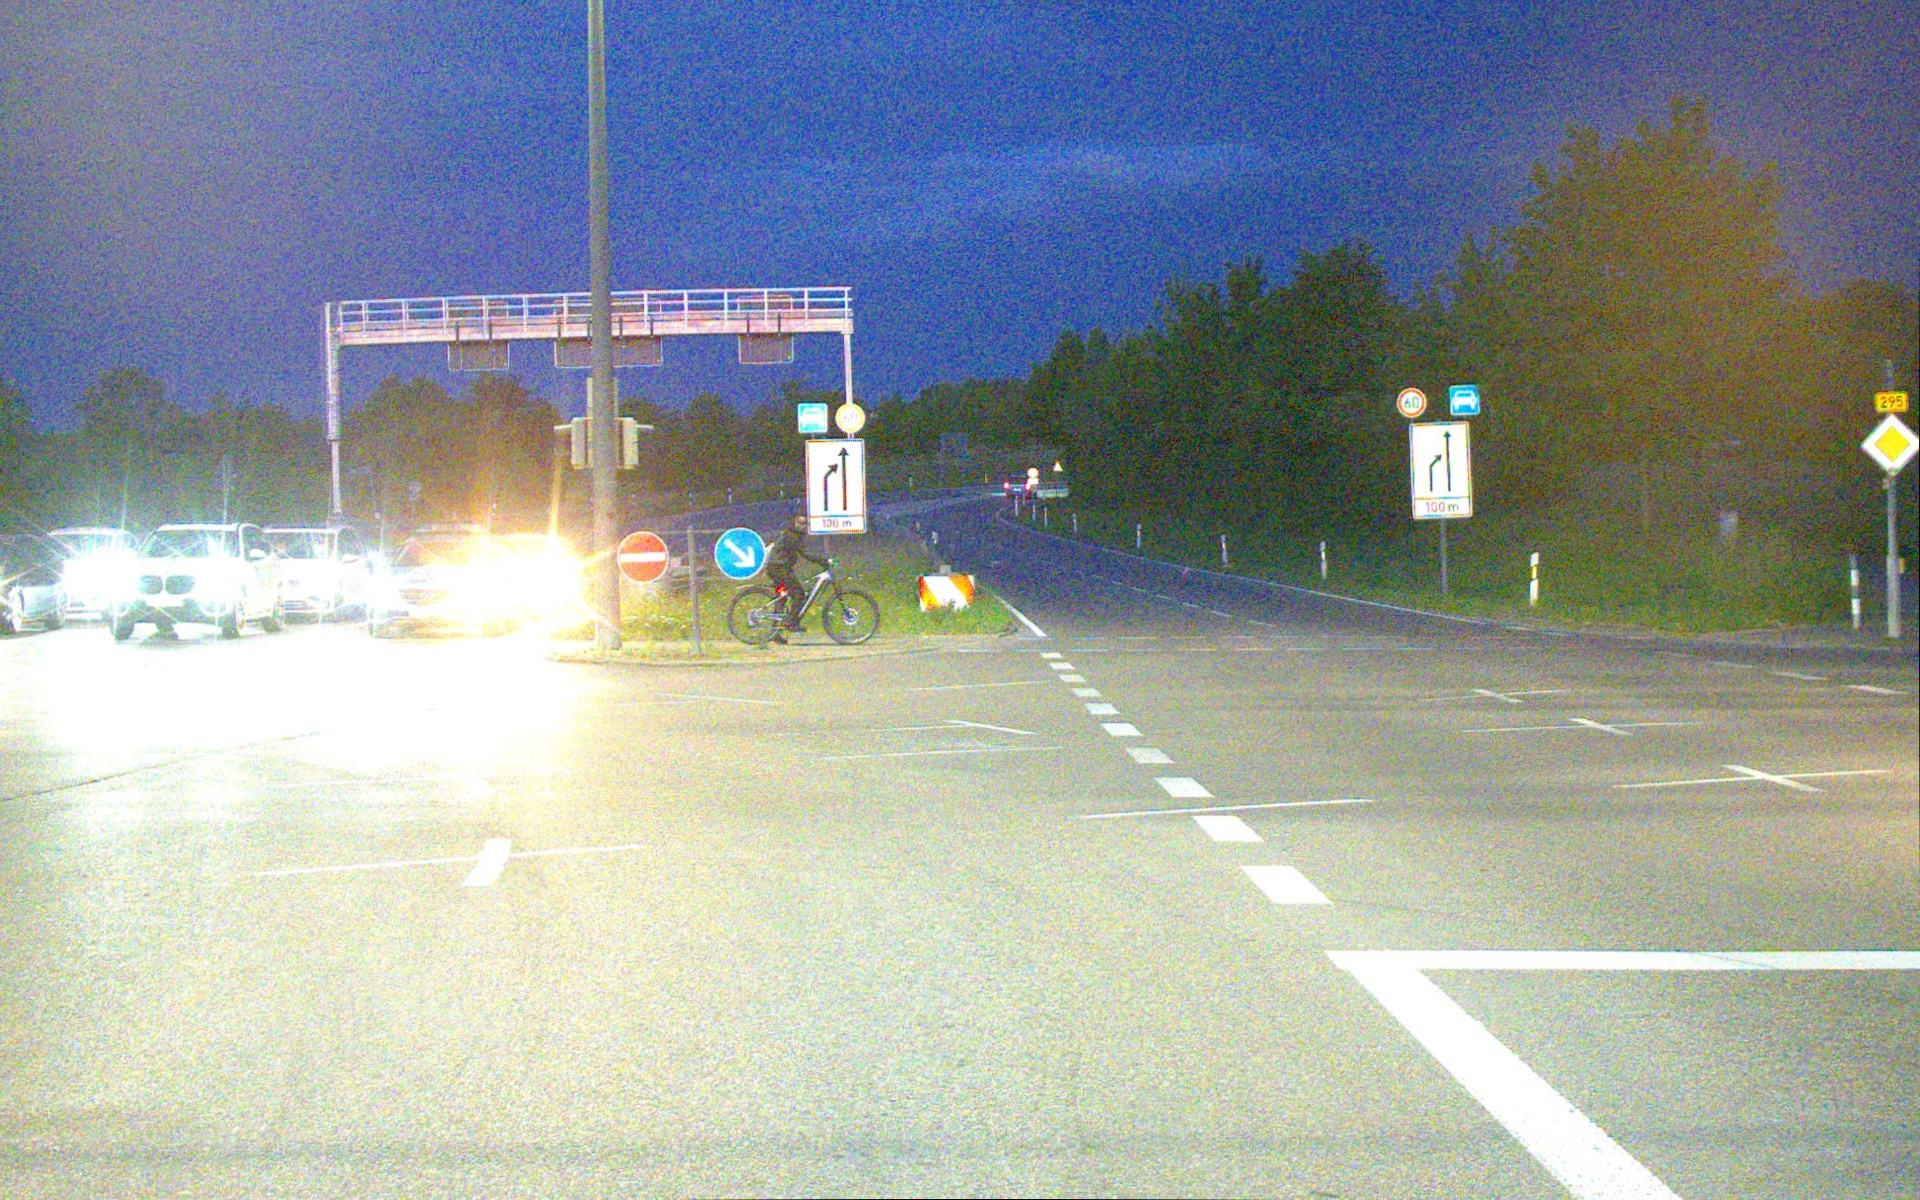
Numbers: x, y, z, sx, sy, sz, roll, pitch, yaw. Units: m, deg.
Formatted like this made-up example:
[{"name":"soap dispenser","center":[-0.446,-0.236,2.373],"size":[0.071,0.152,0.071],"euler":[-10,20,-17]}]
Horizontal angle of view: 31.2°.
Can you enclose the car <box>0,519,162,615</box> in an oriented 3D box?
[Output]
[{"name":"car","center":[-14.814,-0.575,57.767],"size":[1.831,1.519,4.000],"euler":[-1,2,0]}]

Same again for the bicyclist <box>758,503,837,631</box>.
[{"name":"bicyclist","center":[-2.108,-0.426,44.550],"size":[0.997,1.645,0.604],"euler":[0,1,-5]}]

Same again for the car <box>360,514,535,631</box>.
[{"name":"car","center":[-7.509,-0.444,50.795],"size":[1.852,1.627,4.585],"euler":[0,2,1]}]

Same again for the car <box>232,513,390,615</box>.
[{"name":"car","center":[-10.896,-0.635,57.988],"size":[1.745,1.621,4.363],"euler":[0,2,1]}]

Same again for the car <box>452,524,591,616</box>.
[{"name":"car","center":[-7.450,-0.541,58.735],"size":[1.773,1.476,3.910],"euler":[1,1,1]}]

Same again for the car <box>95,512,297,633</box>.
[{"name":"car","center":[-11.175,-0.442,50.594],"size":[1.908,1.676,4.420],"euler":[0,2,1]}]

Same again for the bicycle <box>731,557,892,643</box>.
[{"name":"bicycle","center":[-1.932,-0.004,44.559],"size":[2.061,1.097,0.695],"euler":[0,1,-5]}]

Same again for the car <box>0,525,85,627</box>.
[{"name":"car","center":[-14.672,-0.387,51.691],"size":[1.780,1.441,4.291],"euler":[0,2,2]}]

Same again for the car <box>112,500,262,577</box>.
[{"name":"car","center":[-14.724,-1.192,65.690],"size":[1.831,1.385,4.397],"euler":[-1,2,0]}]
